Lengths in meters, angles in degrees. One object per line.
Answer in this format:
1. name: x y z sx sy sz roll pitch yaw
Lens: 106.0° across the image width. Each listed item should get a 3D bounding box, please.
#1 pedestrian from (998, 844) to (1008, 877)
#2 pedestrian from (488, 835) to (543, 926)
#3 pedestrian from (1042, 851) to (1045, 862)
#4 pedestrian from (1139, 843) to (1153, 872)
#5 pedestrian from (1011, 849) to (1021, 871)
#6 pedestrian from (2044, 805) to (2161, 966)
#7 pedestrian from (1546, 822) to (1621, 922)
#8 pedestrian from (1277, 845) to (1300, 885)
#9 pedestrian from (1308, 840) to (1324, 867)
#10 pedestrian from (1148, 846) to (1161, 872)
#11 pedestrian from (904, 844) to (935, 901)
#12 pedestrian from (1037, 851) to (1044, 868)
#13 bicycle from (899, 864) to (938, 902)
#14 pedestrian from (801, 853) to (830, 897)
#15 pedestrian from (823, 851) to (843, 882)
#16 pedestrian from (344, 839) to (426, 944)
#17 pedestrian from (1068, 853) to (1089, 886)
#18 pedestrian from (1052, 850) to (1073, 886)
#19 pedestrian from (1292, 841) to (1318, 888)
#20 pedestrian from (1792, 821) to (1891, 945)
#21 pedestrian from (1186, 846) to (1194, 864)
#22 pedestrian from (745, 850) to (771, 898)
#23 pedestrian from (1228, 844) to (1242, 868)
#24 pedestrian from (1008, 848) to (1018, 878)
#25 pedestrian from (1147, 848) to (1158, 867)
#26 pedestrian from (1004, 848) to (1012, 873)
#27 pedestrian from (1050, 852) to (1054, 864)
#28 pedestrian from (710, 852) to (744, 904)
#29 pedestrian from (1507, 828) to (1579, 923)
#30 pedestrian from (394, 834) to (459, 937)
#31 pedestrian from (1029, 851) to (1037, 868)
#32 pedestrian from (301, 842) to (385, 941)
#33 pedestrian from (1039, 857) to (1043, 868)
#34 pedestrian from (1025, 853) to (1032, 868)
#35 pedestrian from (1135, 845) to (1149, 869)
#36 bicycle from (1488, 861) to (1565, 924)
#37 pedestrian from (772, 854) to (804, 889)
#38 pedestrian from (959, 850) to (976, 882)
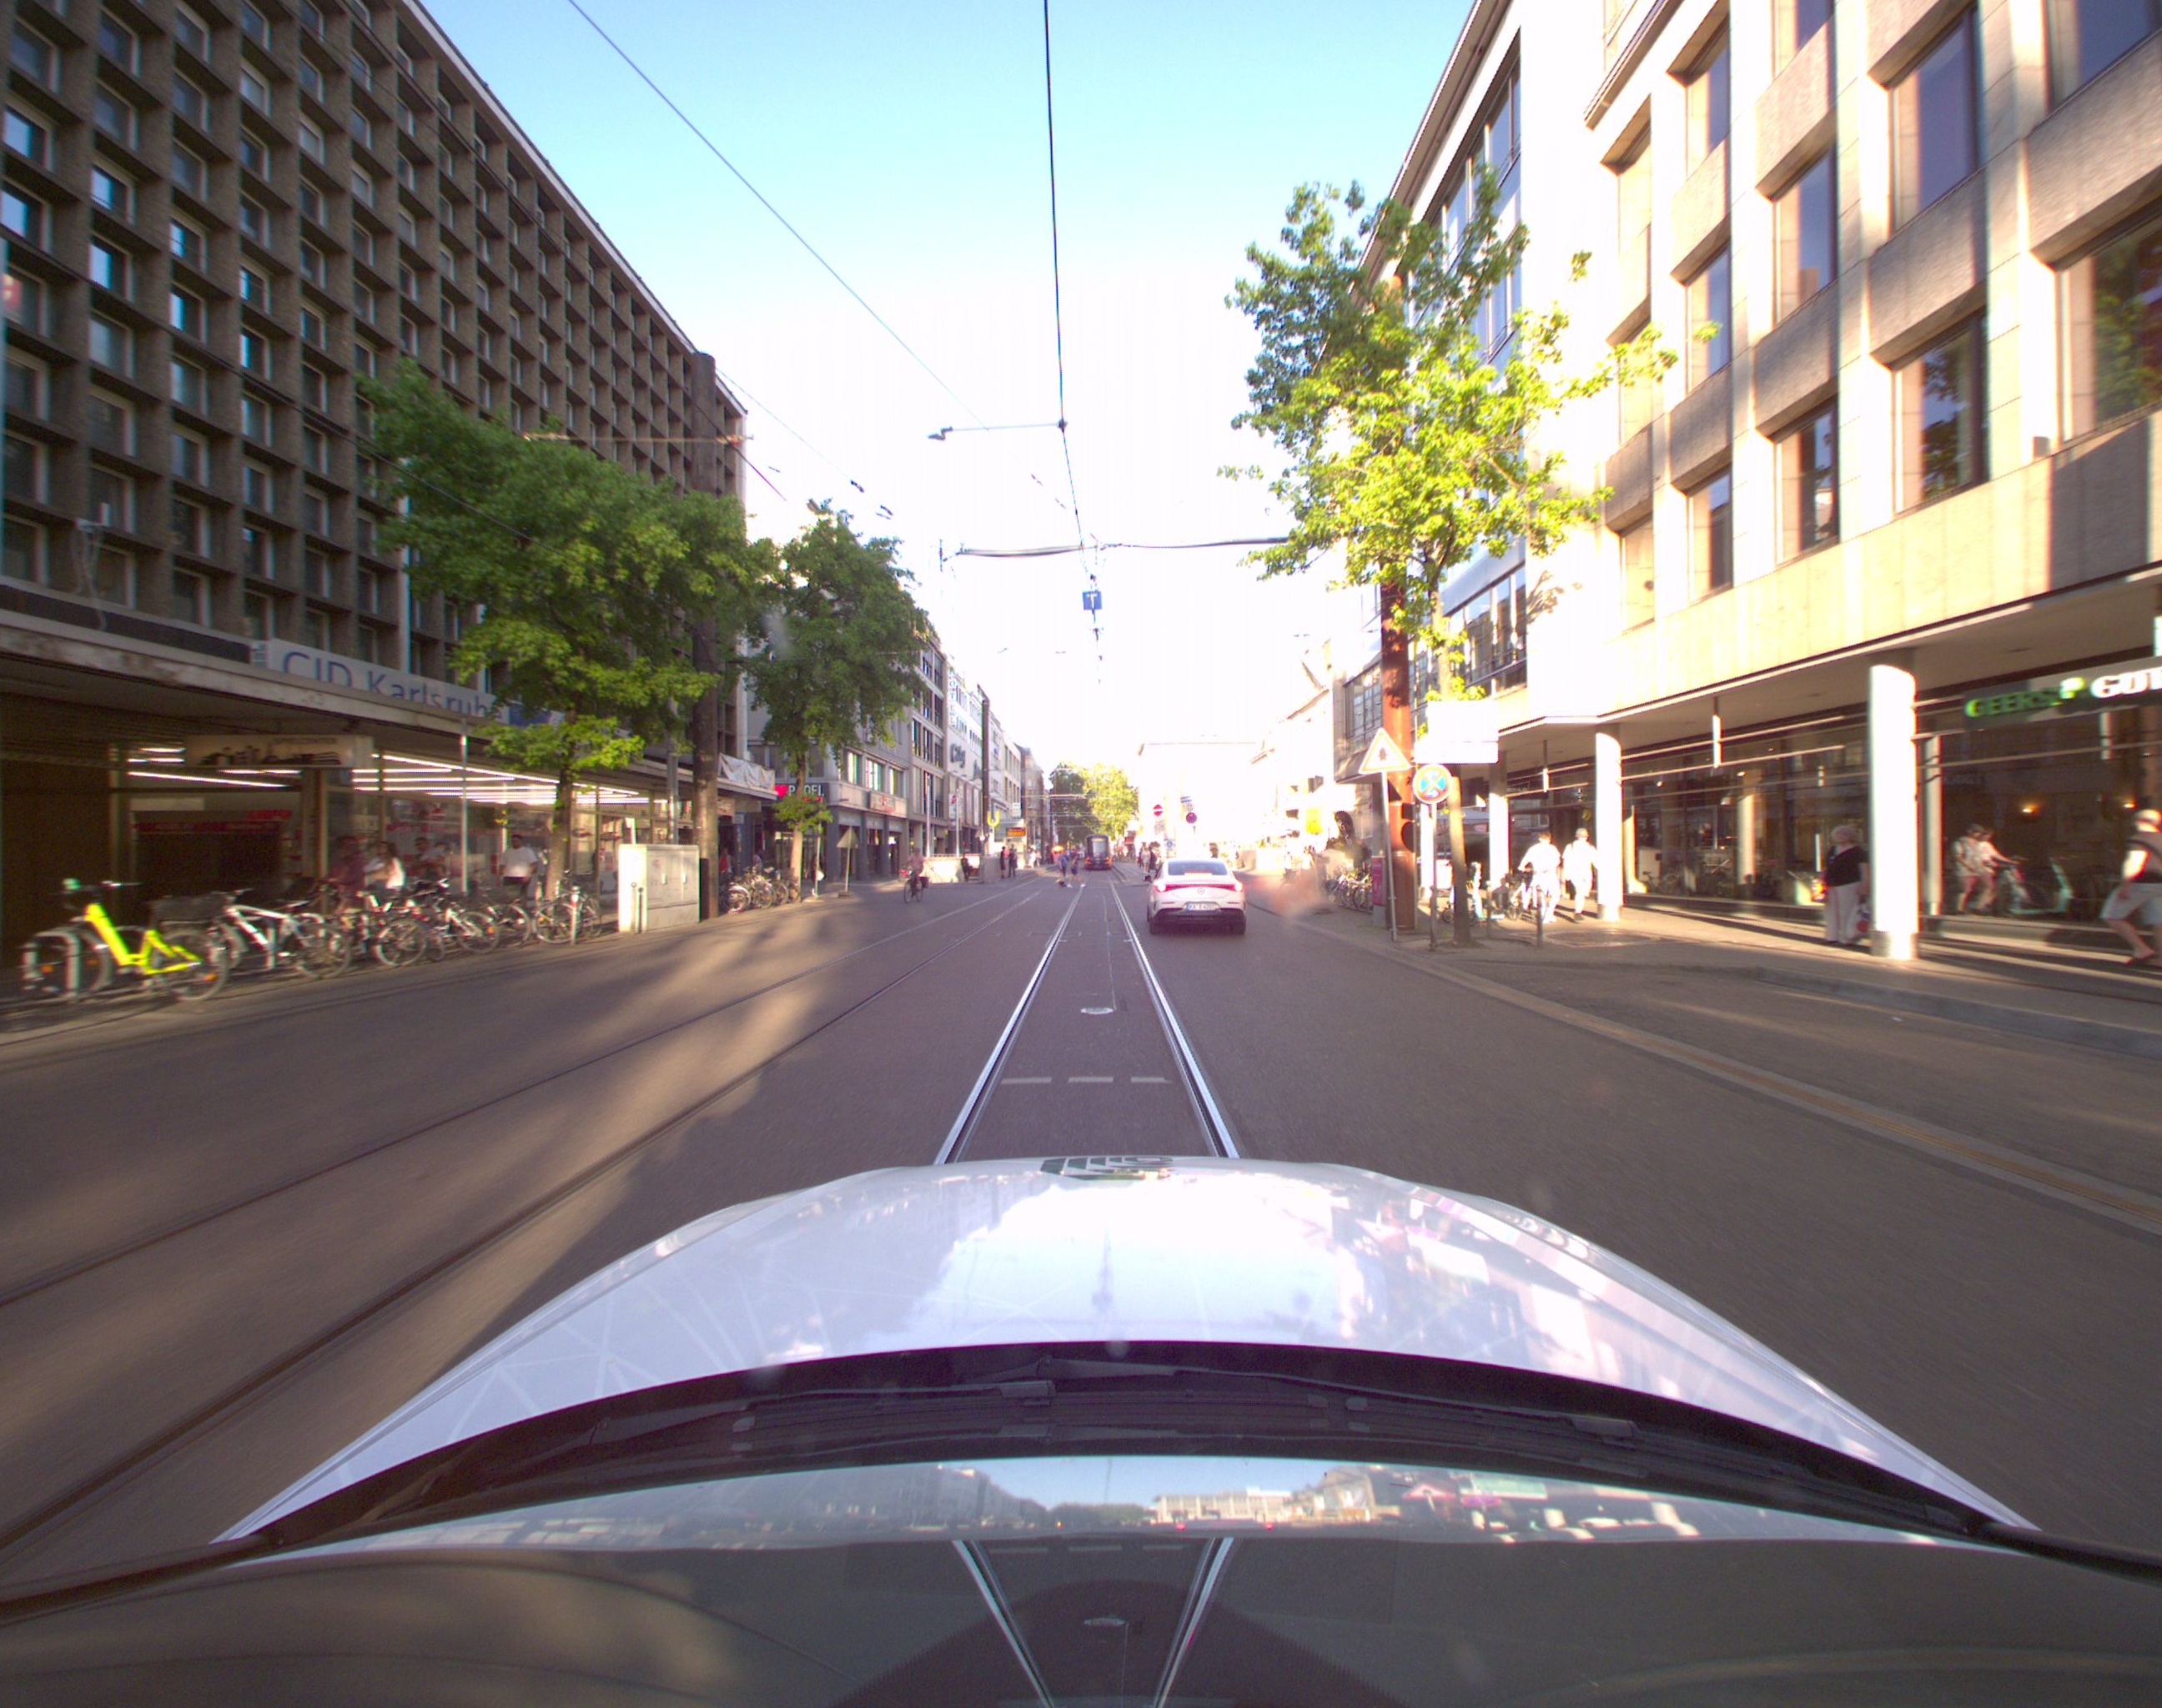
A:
1. pedestrian: -4.607 0.402 48.215 0.570 1.929 0.540 -1 0 -5
2. pedestrian: -11.313 0.516 16.314 0.789 1.766 0.533 -1 0 -24
3. pedestrian: -5.556 0.302 120.555 0.412 1.630 0.606 -1 0 1
4. pedestrian: 3.949 0.215 49.591 0.744 1.698 0.840 -1 0 -2
5. pedestrian: -4.610 0.400 57.605 0.613 1.545 0.650 -1 0 -1
6. pedestrian: 11.786 0.341 9.241 0.713 1.741 0.835 0 0 1
7. pedestrian: 9.638 0.327 15.665 0.699 1.812 1.033 -4 0 1
8. pedestrian: 9.612 0.509 37.751 0.838 1.785 0.804 -2 0 0
9. pedestrian: 15.932 -0.030 55.284 0.720 1.785 1.005 -2 0 1
10. pedestrian: 4.786 0.327 53.248 0.834 1.662 0.786 -1 0 3
11. pedestrian: -5.219 0.592 26.388 0.797 1.782 0.849 1 0 0
12. pedestrian: -3.806 0.502 76.919 0.658 1.599 0.573 -1 0 0
13. bicycle: -5.225 0.914 26.373 0.797 1.142 2.257 1 0 0
14. pedestrian: -9.970 0.776 30.594 0.747 1.623 0.980 -1 0 -2
15. pedestrian: -13.546 0.671 44.509 0.819 1.706 0.980 -1 0 -1
16. pedestrian: -11.187 0.584 13.114 0.713 1.639 0.683 -1 0 -5
17. pedestrian: -0.116 0.731 38.203 0.952 1.496 0.944 -1 0 2
18. pedestrian: -0.886 0.649 38.876 0.901 1.698 0.849 -1 0 2
19. pedestrian: 8.691 0.409 31.618 0.746 1.785 0.767 -2 0 0
20. pedestrian: 10.475 0.386 11.237 0.634 1.653 0.781 0 0 2
21. pedestrian: 10.849 0.125 81.301 0.724 1.785 0.707 0 0 0
22. pedestrian: -12.002 0.731 30.293 0.728 1.761 0.810 -1 0 -34
23. pedestrian: 10.942 0.148 57.949 0.815 1.685 0.804 -2 0 0
24. pedestrian: -4.067 0.530 48.753 0.518 1.760 0.550 -1 0 -5
25. pedestrian: 6.880 0.291 78.411 0.957 1.785 0.804 -2 0 0
26. pedestrian: -4.724 0.405 52.744 0.531 1.613 0.540 -1 0 -5
27. pedestrian: -3.945 0.586 110.894 0.412 1.630 0.606 -1 0 1
28. pedestrian: -12.199 0.802 28.057 0.813 1.761 0.779 -1 0 -1
29. pedestrian: 8.999 0.412 15.885 0.897 1.744 0.689 -4 0 0
30. pedestrian: -11.512 0.533 14.356 0.717 1.766 0.679 -1 0 -23
31. pedestrian: -4.548 0.506 76.849 0.658 1.599 0.573 -1 0 0
32. pedestrian: -11.906 0.592 13.155 0.713 1.547 0.683 -1 0 -5
33. pedestrian: -5.991 1.221 122.093 0.605 1.630 0.413 -1 0 -15
34. pedestrian: -5.654 0.674 87.715 0.658 1.599 0.573 -1 0 0
35. pedestrian: 4.665 0.209 62.770 0.957 1.785 0.804 -2 0 0
36. bicycle: 8.819 0.735 16.208 0.562 1.127 1.932 -2 0 5
37. pedestrian: -13.474 0.807 37.409 0.968 1.562 1.020 -1 0 40
38. pedestrian: -6.306 0.655 45.293 0.780 1.717 0.840 -1 0 -2
